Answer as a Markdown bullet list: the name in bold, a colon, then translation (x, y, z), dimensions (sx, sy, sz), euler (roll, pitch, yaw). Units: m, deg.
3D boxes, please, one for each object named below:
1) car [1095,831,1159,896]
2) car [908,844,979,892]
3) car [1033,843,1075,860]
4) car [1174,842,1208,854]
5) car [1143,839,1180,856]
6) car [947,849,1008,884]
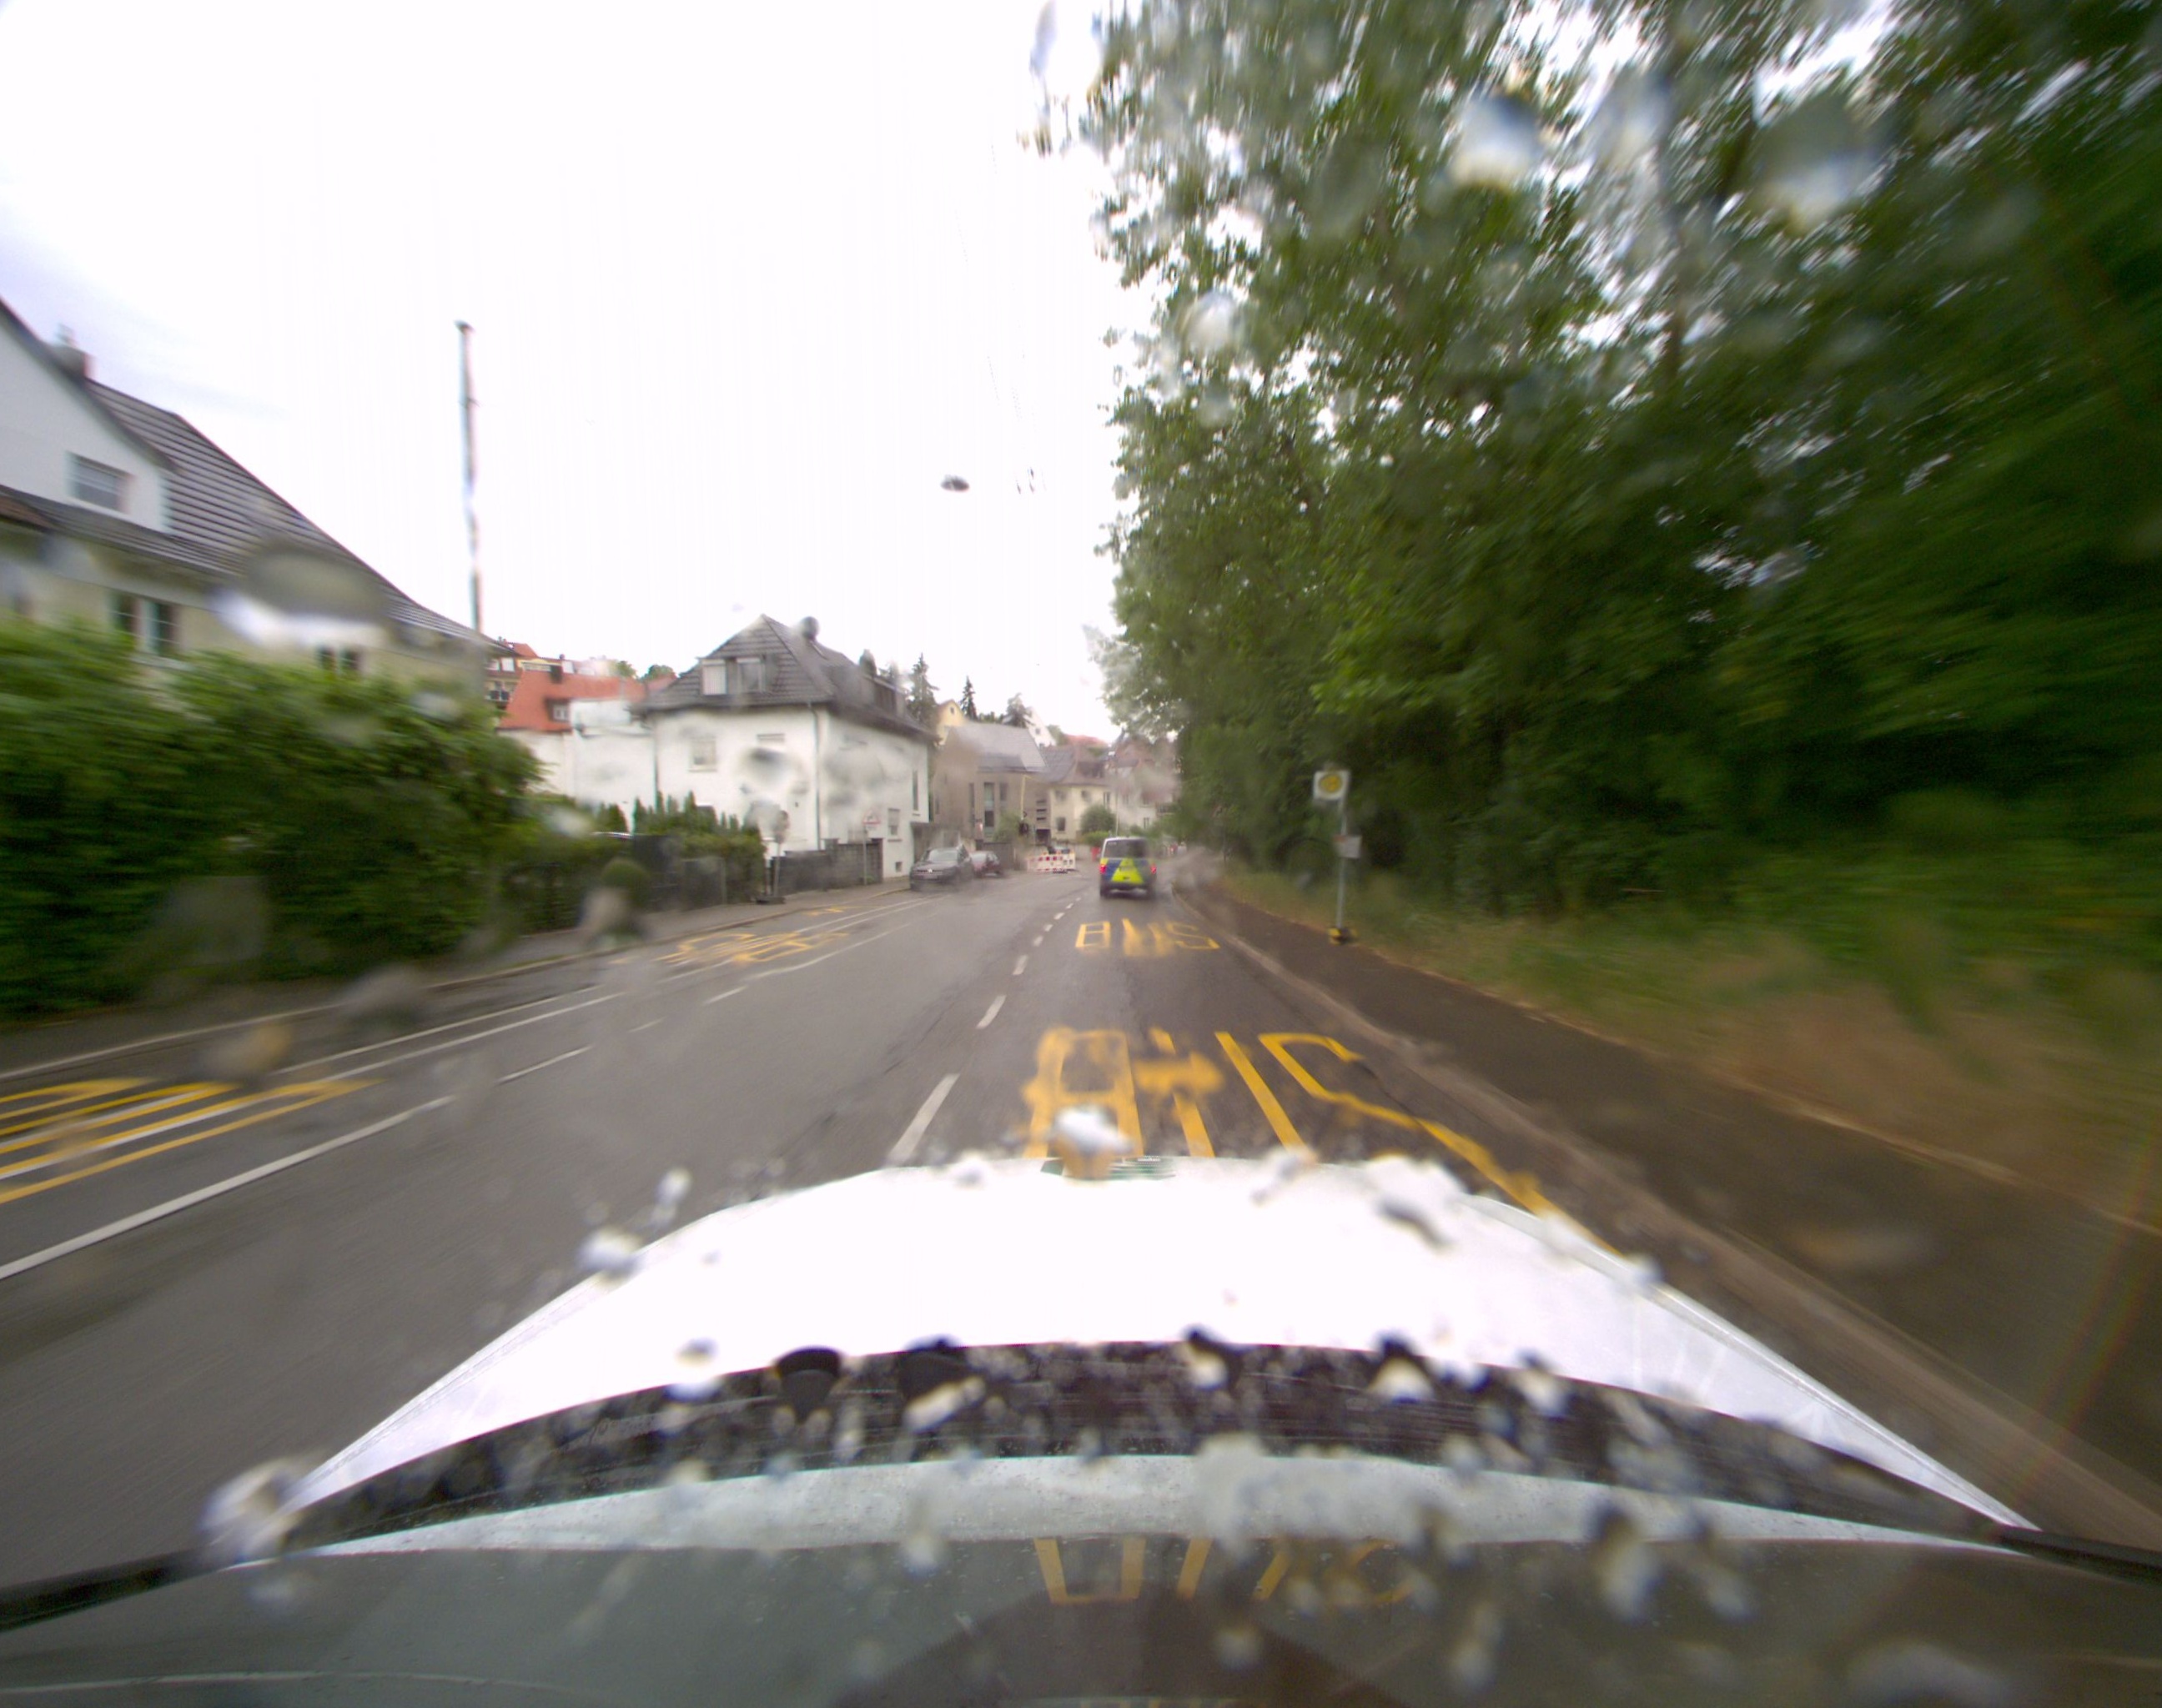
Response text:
- **car**: translation (1.631, 0.260, 27.837), dimensions (1.984, 2.013, 4.408), euler (-1, 1, 5)
- **car**: translation (-5.301, 0.484, 32.031), dimensions (1.747, 1.658, 4.409), euler (-2, 1, 3)
- **car**: translation (-2.465, -0.241, 73.227), dimensions (1.848, 1.443, 3.956), euler (-1, 2, -37)
- **car**: translation (14.131, -0.763, 104.786), dimensions (3.949, 1.486, 1.771), euler (1, -1, 31)
- **car**: translation (9.502, -0.739, 96.211), dimensions (3.949, 2.013, 1.842), euler (0, 1, 32)
- **car**: translation (-4.693, 0.524, 37.346), dimensions (1.607, 1.440, 4.241), euler (-1, 1, 9)
